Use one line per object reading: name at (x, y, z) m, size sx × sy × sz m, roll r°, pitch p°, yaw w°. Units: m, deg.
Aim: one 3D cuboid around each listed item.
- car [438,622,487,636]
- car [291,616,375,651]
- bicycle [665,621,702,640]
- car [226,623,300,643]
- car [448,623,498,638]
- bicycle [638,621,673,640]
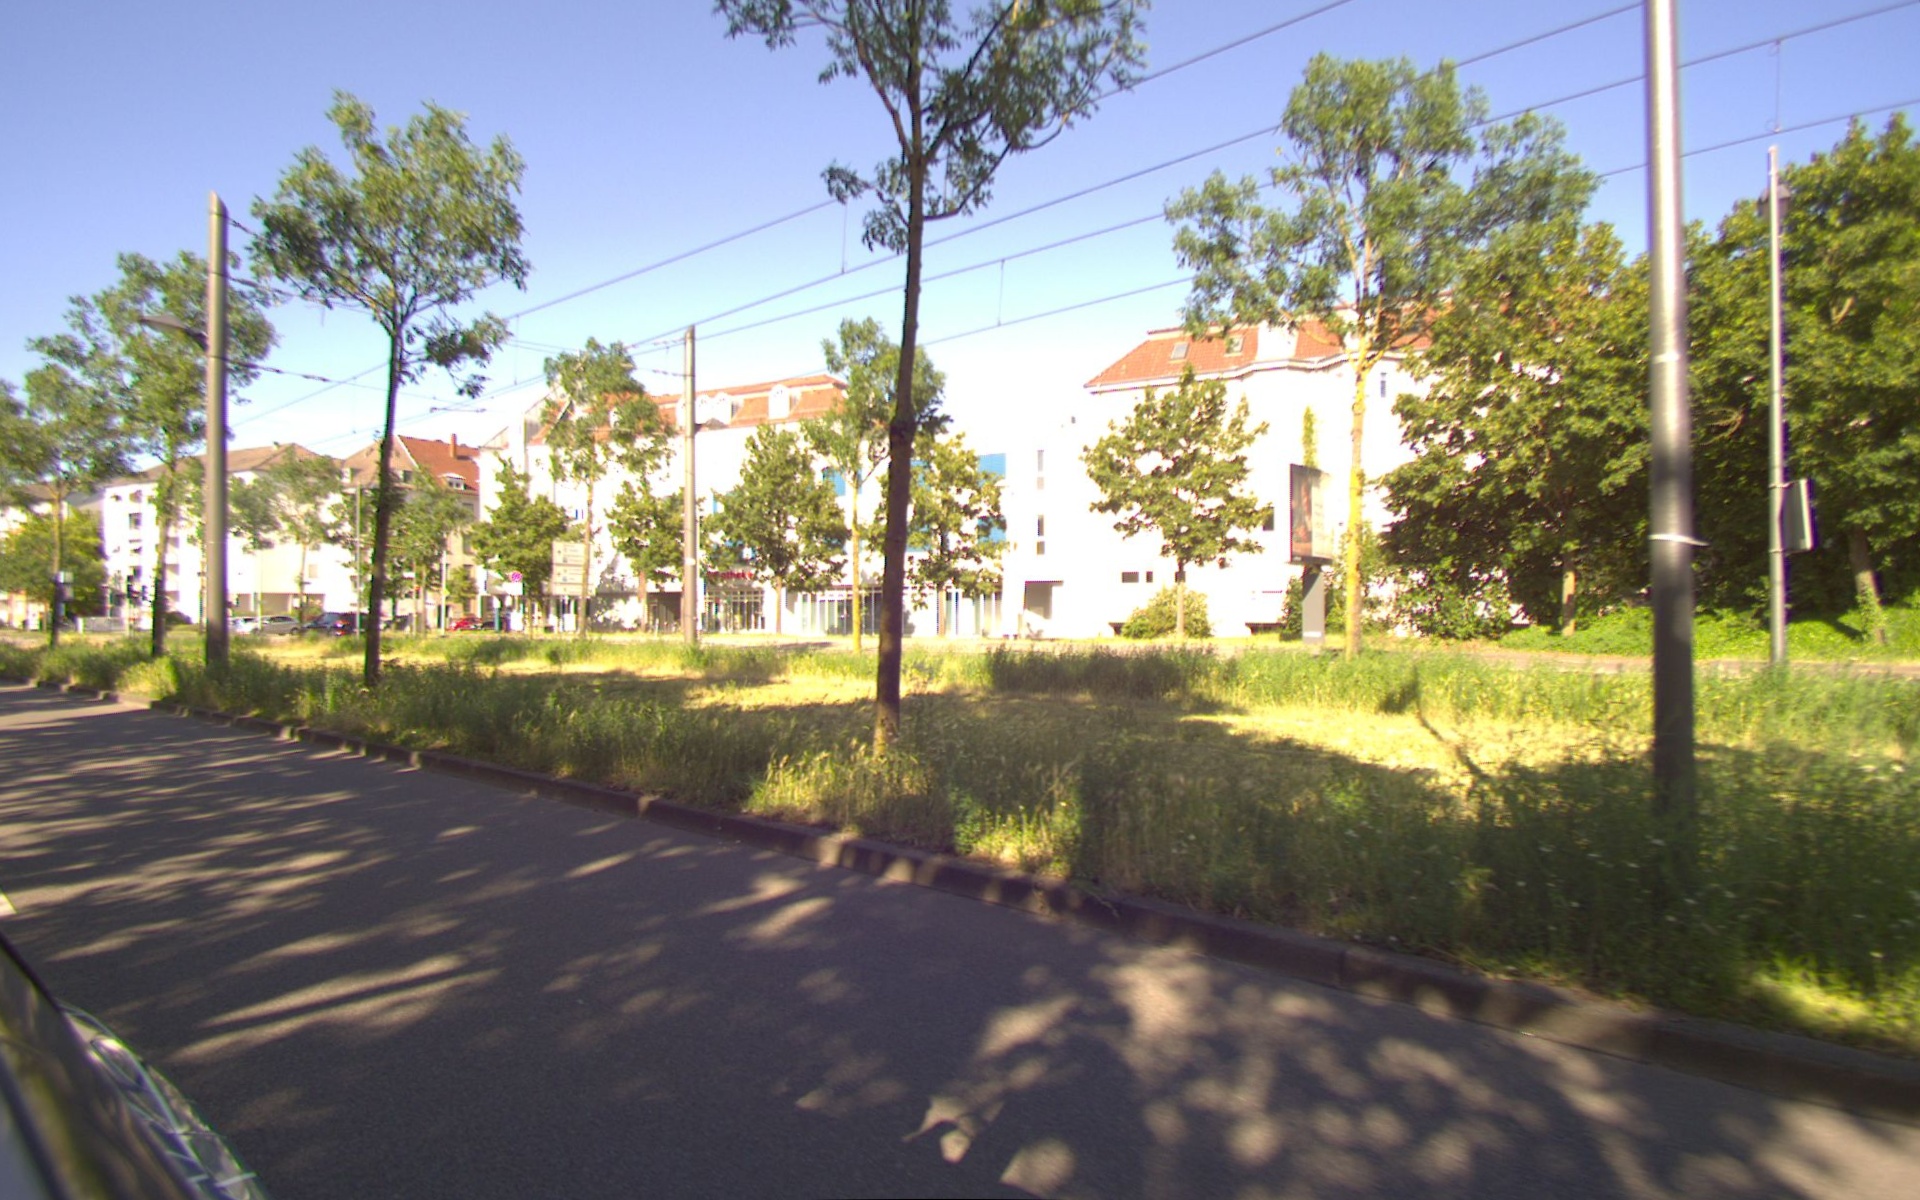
car at (-47.728, 2.759, 97.148) m, size 1.694 × 1.320 × 4.054 m, roll -1°, pitch -1°, yaw 25°
car at (-30.766, 1.619, 49.619) m, size 4.476 × 1.653 × 1.804 m, roll -1°, pitch -1°, yaw 34°
bicycle at (-18.173, 2.008, 66.508) m, size 0.717 × 1.222 × 2.524 m, roll -1°, pitch -1°, yaw 32°
car at (-53.550, 2.516, 77.817) m, size 2.321 × 1.476 × 4.153 m, roll -1°, pitch -1°, yaw 25°
car at (-45.481, 2.805, 94.529) m, size 1.694 × 1.320 × 4.054 m, roll -1°, pitch -1°, yaw 25°
bicycle at (-20.110, 2.013, 66.798) m, size 2.544 × 1.222 × 0.711 m, roll -1°, pitch -1°, yaw 33°
